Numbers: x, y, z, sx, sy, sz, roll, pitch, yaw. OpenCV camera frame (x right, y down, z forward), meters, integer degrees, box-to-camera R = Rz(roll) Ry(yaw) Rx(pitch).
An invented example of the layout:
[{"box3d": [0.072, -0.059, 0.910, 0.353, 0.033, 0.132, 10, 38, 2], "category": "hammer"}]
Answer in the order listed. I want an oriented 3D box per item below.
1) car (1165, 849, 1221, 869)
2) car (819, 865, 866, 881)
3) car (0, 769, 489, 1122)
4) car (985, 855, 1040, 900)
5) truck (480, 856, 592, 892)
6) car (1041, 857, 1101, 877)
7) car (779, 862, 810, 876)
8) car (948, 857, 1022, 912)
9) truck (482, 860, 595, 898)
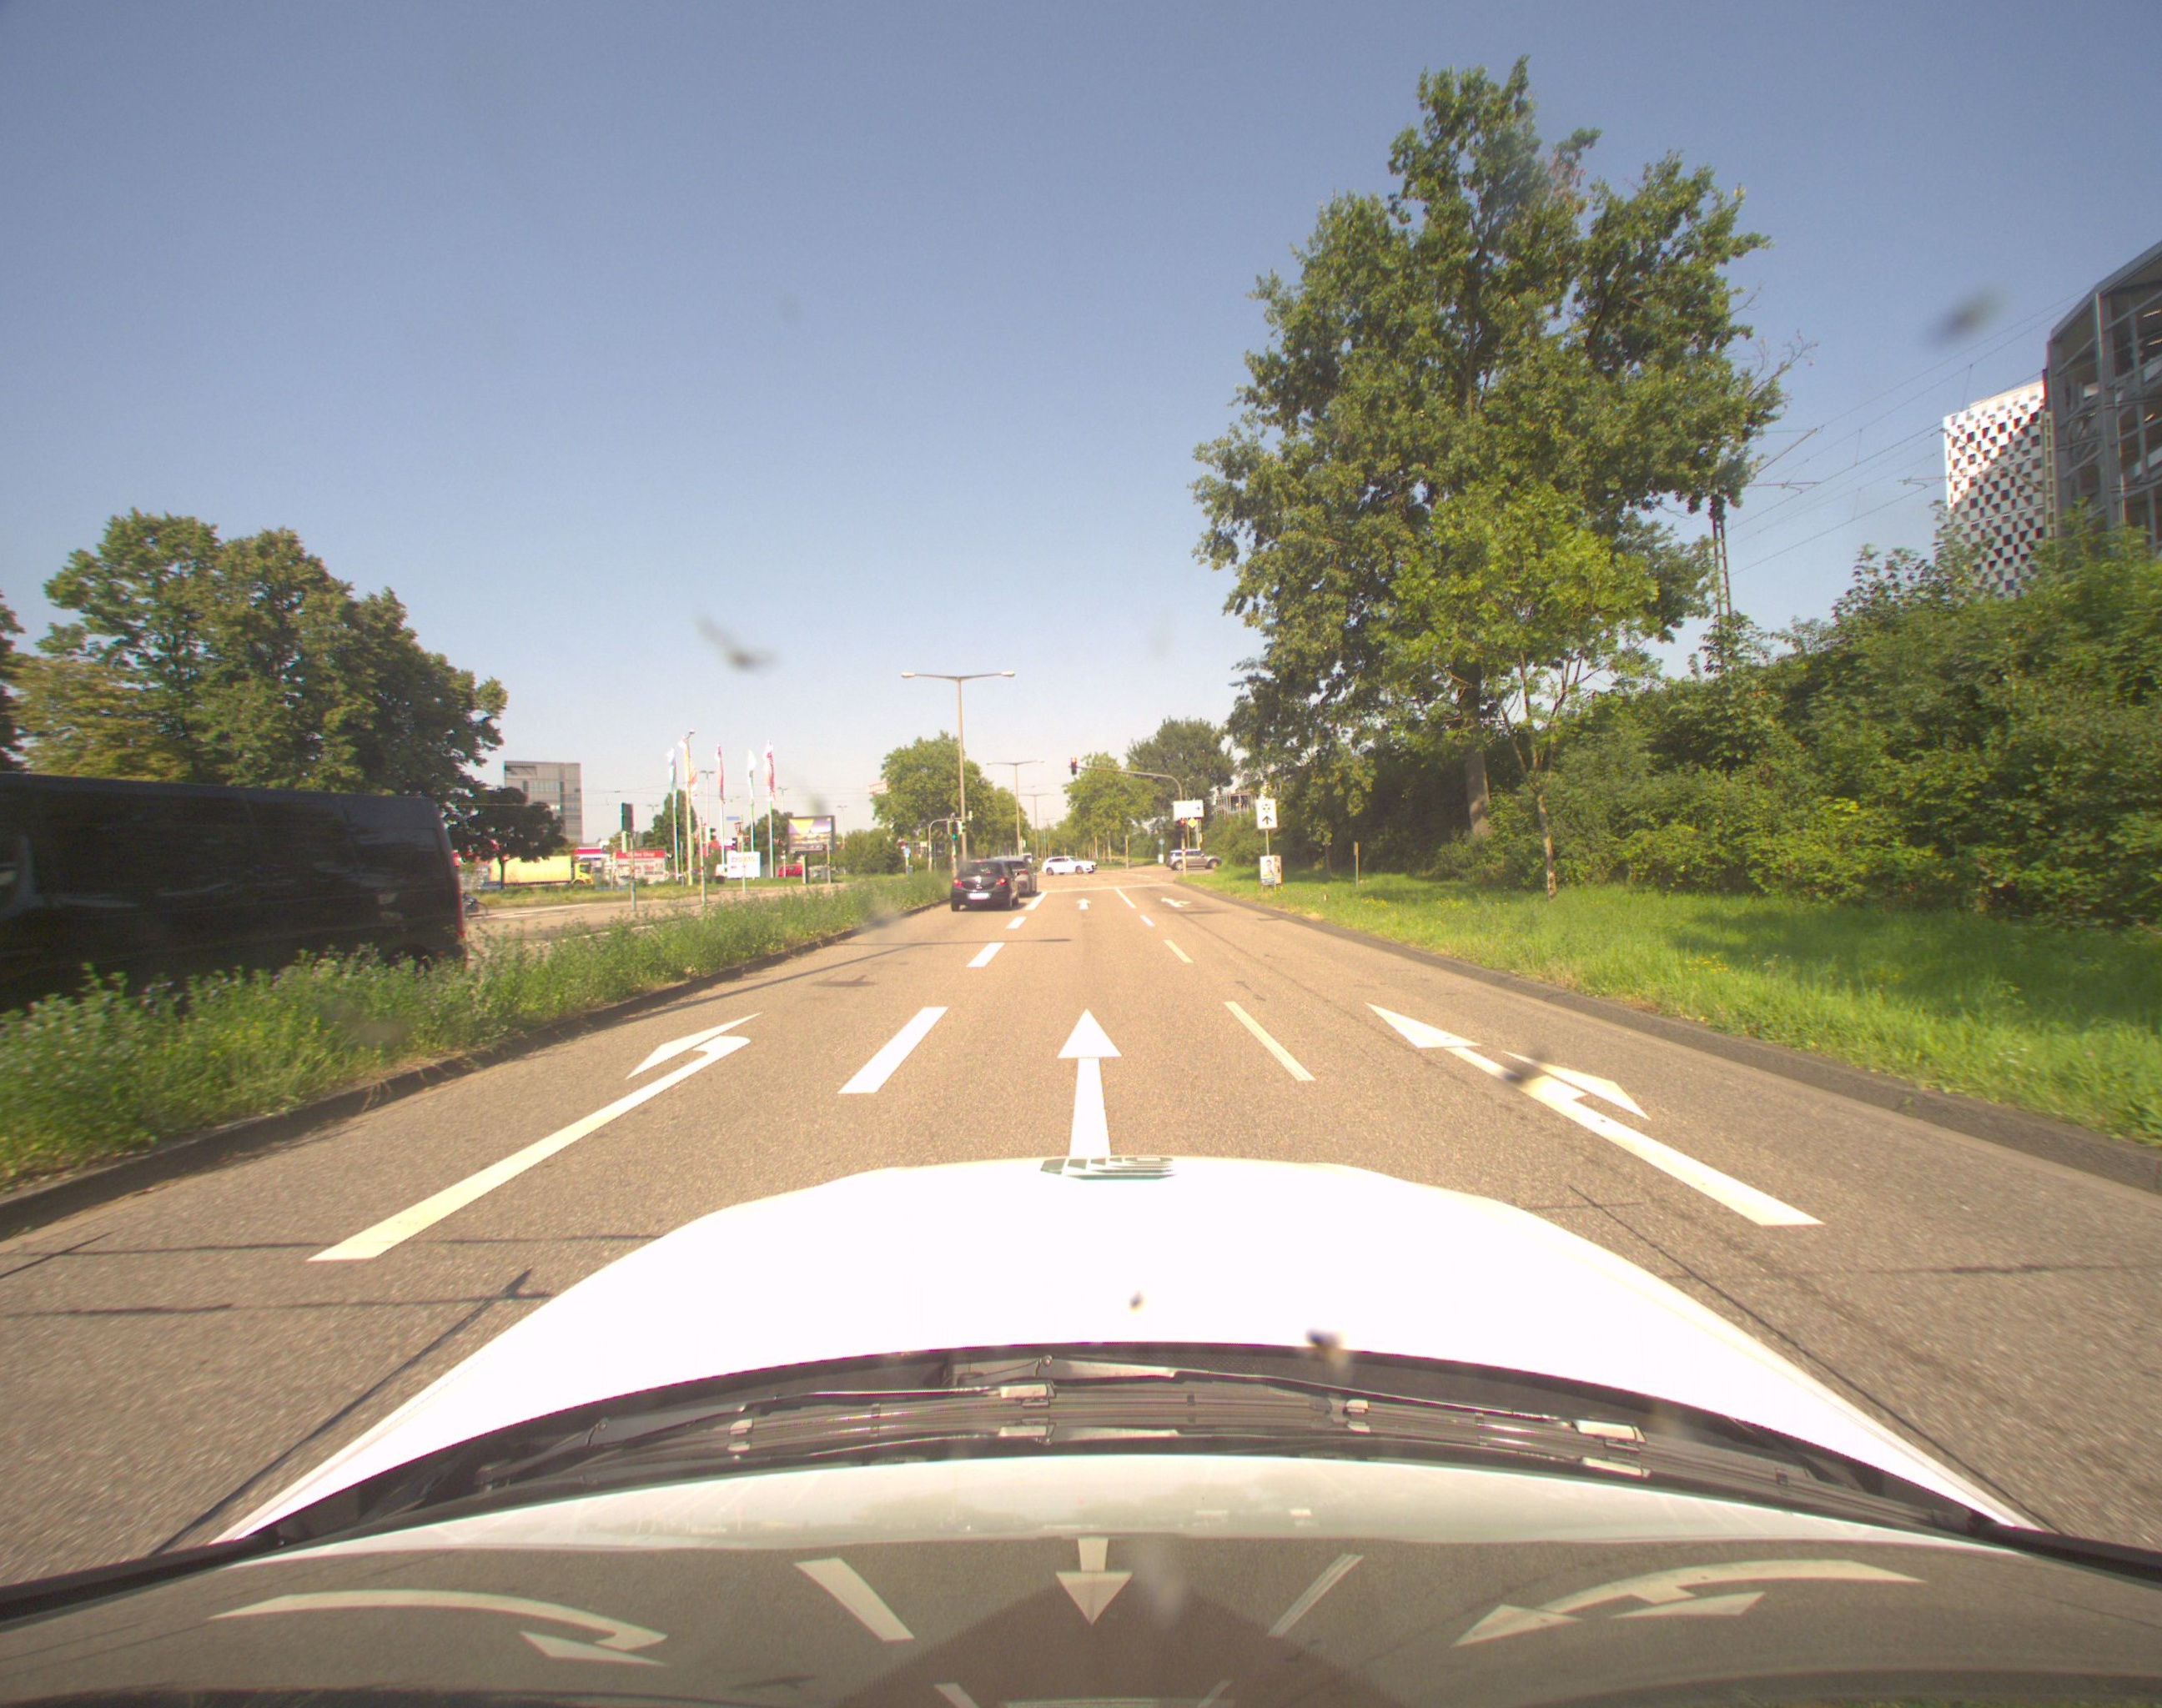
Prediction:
[{"box3d": [8.567, 0.375, 62.348, 3.959, 1.486, 1.623, -1, 0, -4], "category": "car"}, {"box3d": [-19.750, 1.553, 67.530, 3.356, 1.137, 1.497, -3, 0, 8], "category": "car"}, {"box3d": [-8.205, 0.636, 6.661, 2.105, 2.333, 6.280, -2, 0, 0], "category": "car"}, {"box3d": [-2.563, 0.845, 31.121, 1.687, 1.486, 3.999, -3, 0, 0], "category": "car"}, {"box3d": [-54.246, 1.972, 81.221, 9.055, 2.958, 3.475, -3, 0, -36], "category": "truck"}, {"box3d": [-0.824, 1.015, 64.429, 4.563, 1.486, 1.708, -1, 0, 35], "category": "car"}, {"box3d": [-46.417, 2.419, 131.870, 4.307, 2.014, 1.979, -1, -1, -33], "category": "car"}, {"box3d": [-2.768, 0.846, 24.213, 1.686, 1.486, 3.999, -1, 0, 0], "category": "car"}, {"box3d": [-36.269, 1.654, 54.582, 5.967, 2.329, 2.103, -2, -1, -3], "category": "truck"}]
